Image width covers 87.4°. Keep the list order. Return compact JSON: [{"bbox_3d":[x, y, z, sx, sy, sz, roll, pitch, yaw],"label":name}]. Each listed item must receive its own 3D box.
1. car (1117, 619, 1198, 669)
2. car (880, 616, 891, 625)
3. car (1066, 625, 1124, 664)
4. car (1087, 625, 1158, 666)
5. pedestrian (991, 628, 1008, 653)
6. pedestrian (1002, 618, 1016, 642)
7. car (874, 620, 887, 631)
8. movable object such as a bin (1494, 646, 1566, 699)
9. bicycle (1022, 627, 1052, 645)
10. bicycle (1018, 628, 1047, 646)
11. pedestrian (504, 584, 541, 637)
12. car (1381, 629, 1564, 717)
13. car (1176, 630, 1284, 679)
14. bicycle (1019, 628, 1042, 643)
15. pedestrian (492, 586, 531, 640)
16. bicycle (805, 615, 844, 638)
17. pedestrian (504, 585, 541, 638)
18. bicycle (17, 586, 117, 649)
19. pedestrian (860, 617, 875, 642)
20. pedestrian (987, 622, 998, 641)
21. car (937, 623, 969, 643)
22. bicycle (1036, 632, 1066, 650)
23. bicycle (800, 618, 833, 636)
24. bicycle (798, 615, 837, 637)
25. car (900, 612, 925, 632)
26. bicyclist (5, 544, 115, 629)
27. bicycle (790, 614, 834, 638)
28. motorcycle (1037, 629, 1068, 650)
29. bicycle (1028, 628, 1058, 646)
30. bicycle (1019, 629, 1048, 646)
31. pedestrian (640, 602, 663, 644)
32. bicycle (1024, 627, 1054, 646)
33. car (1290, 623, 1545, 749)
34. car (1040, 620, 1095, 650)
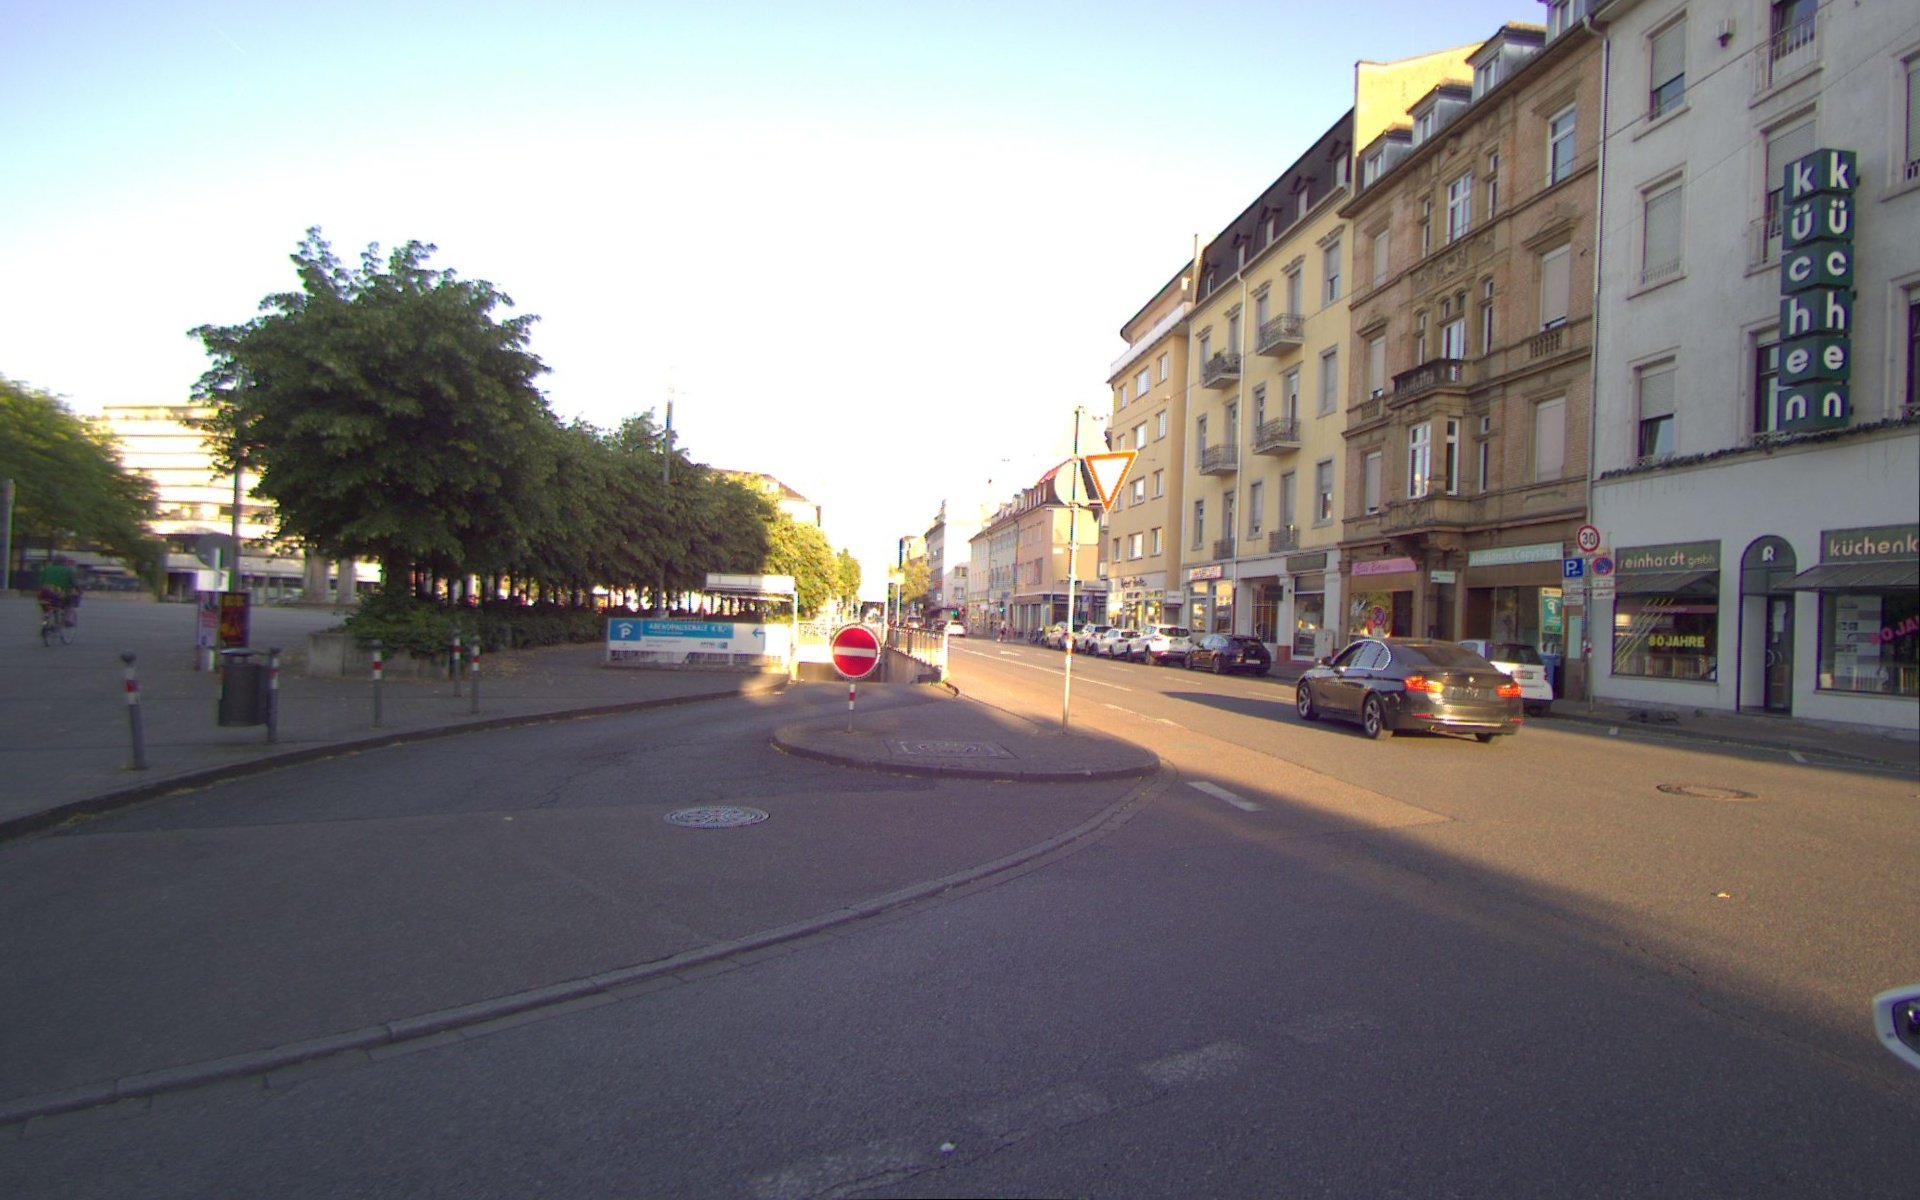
[{"bbox_3d":[8.163,1.768,42.010,1.854,1.768,4.652,3,0,-8],"label":"car"},{"bbox_3d":[-16.038,4.391,215.173,1.867,1.617,3.992,3,-1,-11],"label":"car"},{"bbox_3d":[7.063,2.307,53.125,1.840,1.785,4.401,3,0,-8],"label":"car"},{"bbox_3d":[7.618,2.114,47.576,1.985,1.564,4.863,3,0,-7],"label":"car"},{"bbox_3d":[2.850,2.879,71.671,0.862,1.743,0.753,3,-1,-33],"label":"pedestrian"},{"bbox_3d":[3.628,2.211,74.653,0.784,1.743,0.809,3,-1,-15],"label":"pedestrian"},{"bbox_3d":[-12.384,3.923,156.186,1.856,1.505,3.996,3,-1,-6],"label":"car"},{"bbox_3d":[14.147,1.789,24.961,0.853,1.202,1.396,2,-1,-8],"label":"movable object such as a bin"},{"bbox_3d":[5.223,2.422,67.985,1.857,1.127,0.600,3,-1,-11],"label":"bicycle"},{"bbox_3d":[4.986,2.545,68.912,1.857,1.183,0.721,2,-1,-12],"label":"bicycle"},{"bbox_3d":[-17.614,0.432,40.478,0.896,2.040,0.919,3,-1,15],"label":"pedestrian"},{"bbox_3d":[11.407,1.571,22.708,1.674,1.606,3.994,2,0,-7],"label":"car"},{"bbox_3d":[9.552,1.893,35.972,1.963,1.453,4.844,3,-1,-8],"label":"car"},{"bbox_3d":[4.931,2.499,70.328,1.479,1.039,0.511,2,-1,-13],"label":"bicycle"},{"bbox_3d":[-17.363,0.508,38.909,0.896,2.040,0.919,3,-1,15],"label":"pedestrian"},{"bbox_3d":[-8.616,1.688,63.825,2.396,1.253,0.517,4,-1,-10],"label":"bicycle"},{"bbox_3d":[-17.574,0.472,40.344,0.896,2.040,0.919,3,-1,15],"label":"pedestrian"},{"bbox_3d":[-17.165,0.327,19.375,0.940,1.116,2.310,3,-1,-30],"label":"bicycle"},{"bbox_3d":[-6.641,2.115,72.146,0.871,1.743,0.712,3,-1,-19],"label":"pedestrian"},{"bbox_3d":[3.269,3.186,101.436,0.746,1.800,1.046,3,-1,-13],"label":"pedestrian"},{"bbox_3d":[-0.637,2.942,89.761,2.299,1.625,3.889,3,-1,-8],"label":"car"},{"bbox_3d":[5.918,2.692,65.564,1.857,1.127,0.592,2,0,-11],"label":"bicycle"},{"bbox_3d":[-9.301,1.773,65.006,2.013,0.983,0.635,5,-1,-10],"label":"bicycle"},{"bbox_3d":[-9.125,1.653,64.441,2.395,1.253,0.461,3,-1,-10],"label":"bicycle"},{"bbox_3d":[-4.457,2.039,93.367,1.963,1.773,3.995,3,-1,-8],"label":"car"},{"bbox_3d":[-17.110,-0.239,19.140,1.365,1.529,0.747,3,-1,-29],"label":"bicyclist"},{"bbox_3d":[-9.159,1.615,62.223,2.461,1.301,0.816,3,-1,13],"label":"bicycle"},{"bbox_3d":[5.948,2.554,64.611,1.786,1.280,0.714,2,-1,-11],"label":"motorcycle"},{"bbox_3d":[5.536,2.474,66.644,1.857,1.127,0.592,3,-2,-11],"label":"bicycle"},{"bbox_3d":[5.093,2.604,69.743,1.857,1.127,0.760,3,-1,-12],"label":"bicycle"},{"bbox_3d":[-14.758,1.084,48.069,0.788,1.974,0.731,2,-1,5],"label":"pedestrian"},{"bbox_3d":[5.316,2.446,67.454,1.857,1.127,0.520,3,-1,-11],"label":"bicycle"},{"bbox_3d":[6.533,1.145,14.935,1.857,1.511,4.205,3,-1,1],"label":"car"},{"bbox_3d":[6.299,2.026,59.308,1.964,1.634,4.796,3,-1,-9],"label":"car"}]
